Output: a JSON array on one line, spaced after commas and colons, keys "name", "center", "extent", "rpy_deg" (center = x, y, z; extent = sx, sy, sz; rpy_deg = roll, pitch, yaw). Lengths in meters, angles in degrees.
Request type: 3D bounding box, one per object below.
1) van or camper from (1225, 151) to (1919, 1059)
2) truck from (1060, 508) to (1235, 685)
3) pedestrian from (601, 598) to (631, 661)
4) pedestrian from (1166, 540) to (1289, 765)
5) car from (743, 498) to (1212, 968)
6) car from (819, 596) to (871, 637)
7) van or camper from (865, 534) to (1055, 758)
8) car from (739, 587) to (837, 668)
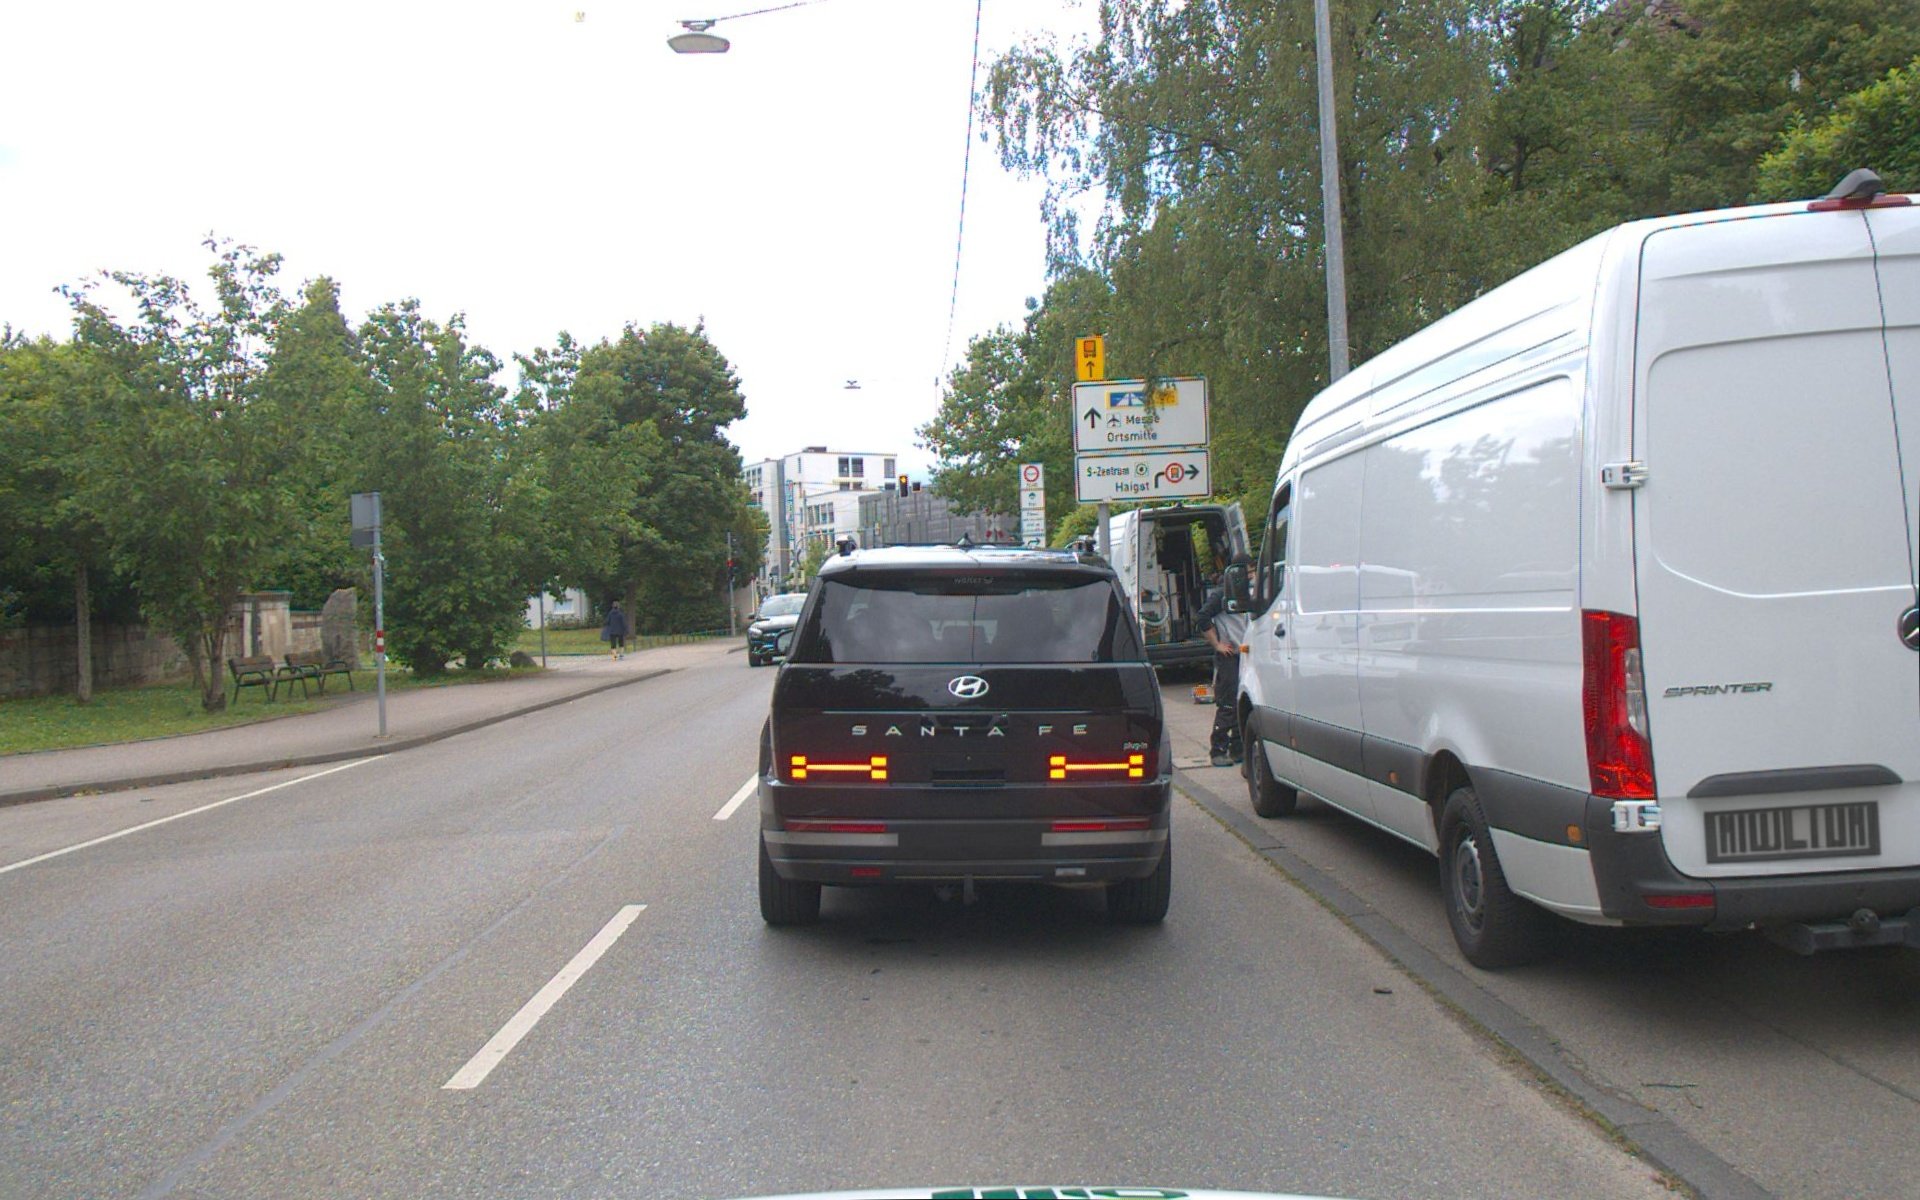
[{"name": "van or camper", "center": [2.894, -0.016, 8.186], "extent": [1.953, 2.665, 6.540], "rpy_deg": [-2, 0, -1]}, {"name": "truck", "center": [3.032, -0.037, 27.989], "extent": [1.904, 2.606, 5.212], "rpy_deg": [-3, 0, -4]}, {"name": "pedestrian", "center": [-9.765, 0.838, 46.915], "extent": [0.724, 1.745, 0.791], "rpy_deg": [-2, 0, -8]}, {"name": "pedestrian", "center": [2.249, 0.430, 13.973], "extent": [0.852, 1.828, 0.759], "rpy_deg": [-2, 0, -2]}, {"name": "car", "center": [0.042, 0.517, 8.547], "extent": [1.851, 1.851, 3.999], "rpy_deg": [0, 0, -1]}, {"name": "car", "center": [-4.676, 0.648, 67.722], "extent": [1.822, 1.478, 4.110], "rpy_deg": [-4, 0, -1]}, {"name": "van or camper", "center": [-0.028, 0.423, 17.490], "extent": [1.719, 2.049, 3.999], "rpy_deg": [-2, 0, -1]}, {"name": "car", "center": [-4.027, 0.603, 39.259], "extent": [1.822, 1.686, 4.305], "rpy_deg": [-4, 0, -1]}]
